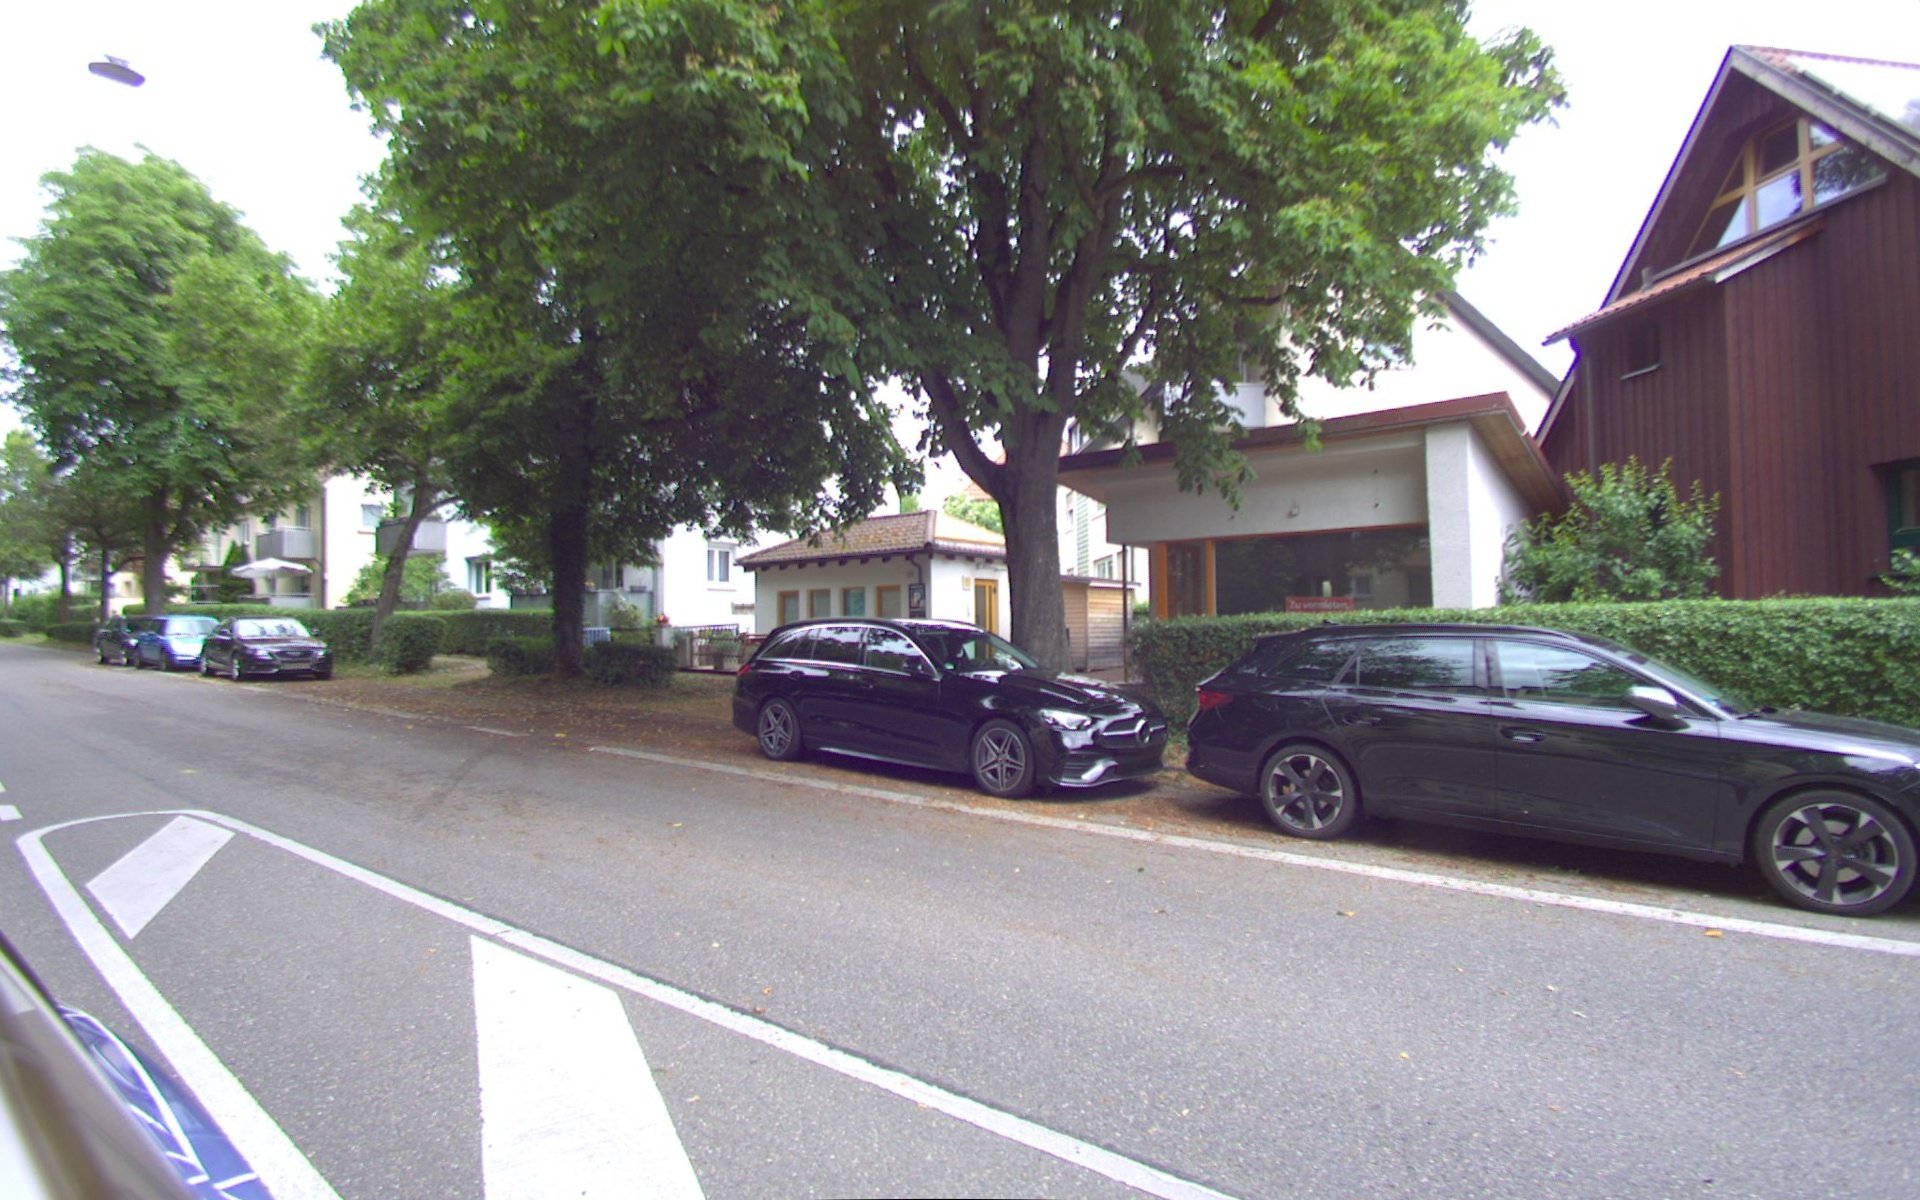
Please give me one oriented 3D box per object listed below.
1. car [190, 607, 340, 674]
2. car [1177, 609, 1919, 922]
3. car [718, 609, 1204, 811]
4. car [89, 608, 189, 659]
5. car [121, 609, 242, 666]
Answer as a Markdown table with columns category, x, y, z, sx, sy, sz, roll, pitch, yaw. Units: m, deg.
| category | x | y | z | sx | sy | sz | roll | pitch | yaw |
| --- | --- | --- | --- | --- | --- | --- | --- | --- | --- |
| car | -15.850 | 0.905 | 22.994 | 4.593 | 1.387 | 1.827 | -2 | -3 | 43 |
| car | 3.830 | 0.809 | 6.445 | 4.509 | 1.461 | 1.727 | 0 | -2 | 40 |
| car | -0.191 | 0.842 | 9.553 | 4.591 | 1.461 | 1.727 | 0 | -2 | 41 |
| car | -23.813 | 0.982 | 29.315 | 3.768 | 1.387 | 1.521 | -1 | -3 | 40 |
| car | -20.359 | 0.963 | 26.412 | 4.148 | 1.387 | 1.616 | -1 | -3 | 40 |
